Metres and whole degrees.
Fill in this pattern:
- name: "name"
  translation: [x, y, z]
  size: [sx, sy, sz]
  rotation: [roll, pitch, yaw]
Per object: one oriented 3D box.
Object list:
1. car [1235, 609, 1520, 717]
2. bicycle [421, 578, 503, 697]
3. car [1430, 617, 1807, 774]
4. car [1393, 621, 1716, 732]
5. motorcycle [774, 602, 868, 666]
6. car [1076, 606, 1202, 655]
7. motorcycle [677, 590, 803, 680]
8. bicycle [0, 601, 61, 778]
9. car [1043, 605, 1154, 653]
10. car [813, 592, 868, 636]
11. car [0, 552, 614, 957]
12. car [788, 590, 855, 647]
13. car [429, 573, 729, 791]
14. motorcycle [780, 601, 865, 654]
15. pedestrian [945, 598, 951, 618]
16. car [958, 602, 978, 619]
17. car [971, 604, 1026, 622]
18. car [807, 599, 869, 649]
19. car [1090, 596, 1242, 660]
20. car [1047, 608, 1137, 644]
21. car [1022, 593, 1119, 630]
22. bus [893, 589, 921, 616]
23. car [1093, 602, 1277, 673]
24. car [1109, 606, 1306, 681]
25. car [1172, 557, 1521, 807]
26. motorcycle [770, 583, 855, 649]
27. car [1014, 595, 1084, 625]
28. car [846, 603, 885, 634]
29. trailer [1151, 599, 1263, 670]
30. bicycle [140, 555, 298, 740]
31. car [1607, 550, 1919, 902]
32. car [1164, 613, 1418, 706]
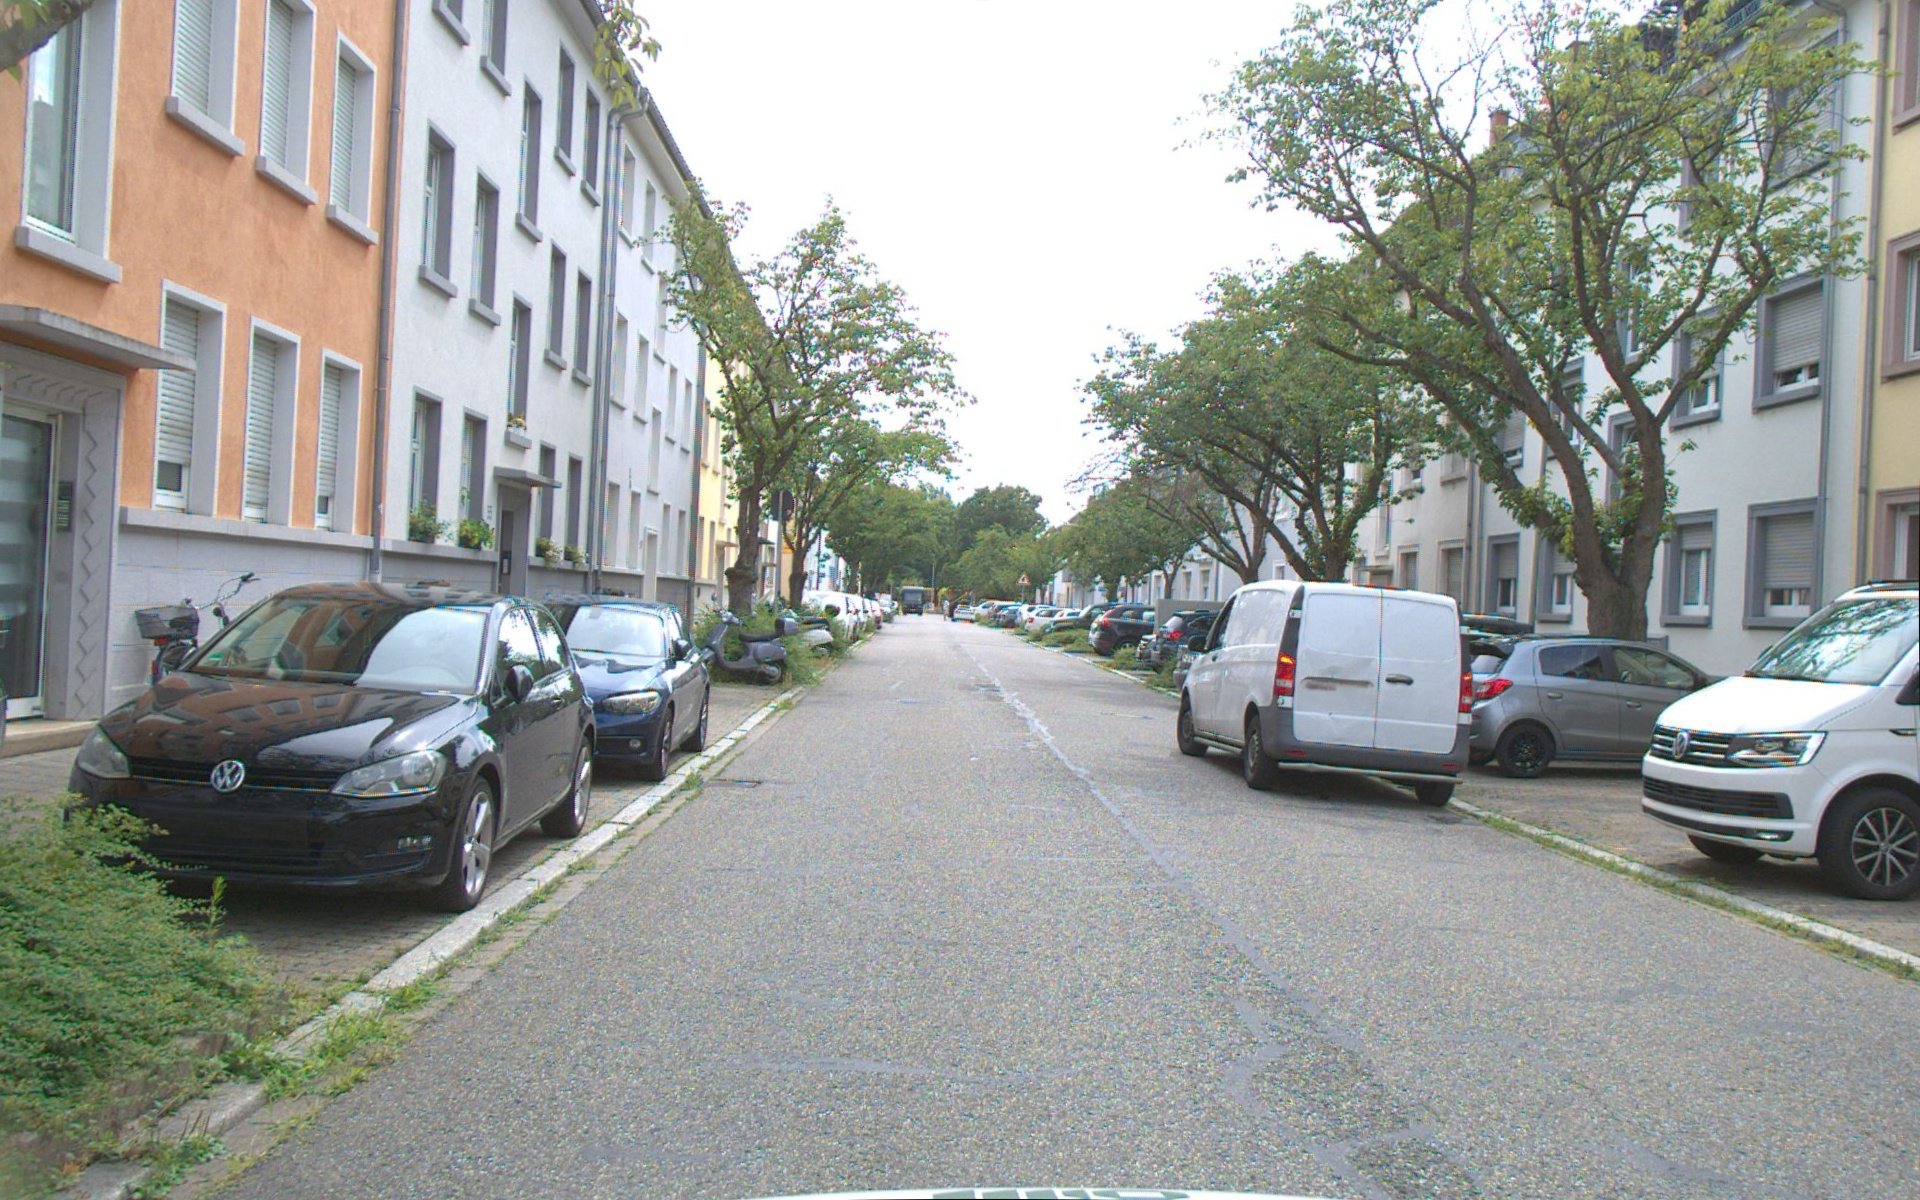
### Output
- name: "car"
  translation: [6.302, 0.939, 25.207]
  size: [3.907, 1.563, 1.637]
  rotation: [1, -1, -2]
- name: "bicycle"
  translation: [-5.933, 0.432, 19.778]
  size: [0.420, 1.357, 1.811]
  rotation: [1, -1, 0]
- name: "car"
  translation: [7.138, 1.007, 18.158]
  size: [3.408, 1.601, 1.813]
  rotation: [1, -1, -3]
- name: "car"
  translation: [8.183, 1.039, 22.972]
  size: [3.907, 1.445, 1.637]
  rotation: [1, -1, -2]
- name: "motorcycle"
  translation: [-3.328, 0.810, 39.688]
  size: [2.206, 1.507, 0.591]
  rotation: [1, -1, -29]
- name: "car"
  translation: [5.921, 1.018, 54.959]
  size: [3.909, 1.557, 1.766]
  rotation: [1, -1, -5]
- name: "motorcycle"
  translation: [-3.614, 0.573, 27.144]
  size: [1.977, 1.432, 0.790]
  rotation: [1, -1, -13]
- name: "bicycle"
  translation: [-5.737, 0.516, 9.316]
  size: [0.359, 1.023, 1.867]
  rotation: [1, 0, -2]
- name: "car"
  translation: [5.680, 1.184, 68.124]
  size: [4.432, 1.890, 1.793]
  rotation: [1, -1, 1]
- name: "car"
  translation: [-4.591, 0.530, 64.120]
  size: [1.879, 1.609, 4.381]
  rotation: [1, 0, -1]
- name: "car"
  translation: [-3.089, 0.642, 8.700]
  size: [1.800, 1.509, 4.090]
  rotation: [4, -1, -3]
- name: "car"
  translation: [-4.125, 0.536, 49.863]
  size: [1.722, 1.583, 4.254]
  rotation: [2, 0, -2]
- name: "car"
  translation: [-3.192, 0.643, 14.684]
  size: [1.800, 1.509, 4.118]
  rotation: [5, -1, -3]
- name: "motorcycle"
  translation: [-3.178, 0.644, 38.349]
  size: [1.884, 1.212, 0.591]
  rotation: [1, -1, -29]
- name: "pedestrian"
  translation: [-1.019, 0.678, 140.206]
  size: [0.511, 1.734, 0.444]
  rotation: [1, -1, 2]
- name: "car"
  translation: [0.655, 0.879, 140.818]
  size: [1.653, 1.378, 3.826]
  rotation: [1, 0, 0]
- name: "car"
  translation: [3.470, 1.134, 149.015]
  size: [4.876, 1.545, 1.767]
  rotation: [1, -1, -3]
- name: "car"
  translation: [-4.059, 0.805, 55.798]
  size: [1.754, 1.518, 4.810]
  rotation: [3, -1, -1]
- name: "car"
  translation: [5.858, 0.790, 47.411]
  size: [4.128, 1.766, 1.904]
  rotation: [1, -1, 0]
- name: "car"
  translation: [5.632, 1.119, 70.821]
  size: [3.554, 1.480, 1.771]
  rotation: [1, -1, -6]
- name: "car"
  translation: [5.276, 0.554, 79.283]
  size: [4.520, 1.693, 1.892]
  rotation: [1, -1, -1]
- name: "bus"
  translation: [-5.849, 0.307, 180.486]
  size: [2.944, 2.809, 8.919]
  rotation: [1, 0, -3]
- name: "car"
  translation: [5.404, 0.892, 40.042]
  size: [4.131, 1.626, 1.902]
  rotation: [1, -1, -4]
- name: "car"
  translation: [5.571, 0.969, 37.596]
  size: [4.131, 1.626, 1.902]
  rotation: [1, -1, -4]
- name: "car"
  translation: [3.541, 0.703, 16.162]
  size: [1.954, 1.948, 4.700]
  rotation: [4, -1, -3]
- name: "motorcycle"
  translation: [-4.067, 0.417, 45.487]
  size: [0.932, 1.705, 2.434]
  rotation: [3, 0, -44]
- name: "car"
  translation: [5.022, 0.564, 93.353]
  size: [3.844, 1.661, 1.867]
  rotation: [1, -1, -1]
- name: "car"
  translation: [-4.808, 0.945, 84.999]
  size: [1.839, 1.512, 4.510]
  rotation: [1, 0, -1]
- name: "trailer"
  translation: [6.730, 0.937, 45.236]
  size: [2.899, 1.863, 1.401]
  rotation: [1, -1, 2]
- name: "bicycle"
  translation: [-5.811, 0.355, 13.069]
  size: [0.420, 1.357, 1.811]
  rotation: [1, -1, 0]
- name: "car"
  translation: [7.245, 0.773, 10.986]
  size: [5.128, 2.059, 2.071]
  rotation: [1, -1, -6]
- name: "car"
  translation: [5.530, 0.991, 27.961]
  size: [3.907, 1.480, 1.766]
  rotation: [1, -1, -2]
